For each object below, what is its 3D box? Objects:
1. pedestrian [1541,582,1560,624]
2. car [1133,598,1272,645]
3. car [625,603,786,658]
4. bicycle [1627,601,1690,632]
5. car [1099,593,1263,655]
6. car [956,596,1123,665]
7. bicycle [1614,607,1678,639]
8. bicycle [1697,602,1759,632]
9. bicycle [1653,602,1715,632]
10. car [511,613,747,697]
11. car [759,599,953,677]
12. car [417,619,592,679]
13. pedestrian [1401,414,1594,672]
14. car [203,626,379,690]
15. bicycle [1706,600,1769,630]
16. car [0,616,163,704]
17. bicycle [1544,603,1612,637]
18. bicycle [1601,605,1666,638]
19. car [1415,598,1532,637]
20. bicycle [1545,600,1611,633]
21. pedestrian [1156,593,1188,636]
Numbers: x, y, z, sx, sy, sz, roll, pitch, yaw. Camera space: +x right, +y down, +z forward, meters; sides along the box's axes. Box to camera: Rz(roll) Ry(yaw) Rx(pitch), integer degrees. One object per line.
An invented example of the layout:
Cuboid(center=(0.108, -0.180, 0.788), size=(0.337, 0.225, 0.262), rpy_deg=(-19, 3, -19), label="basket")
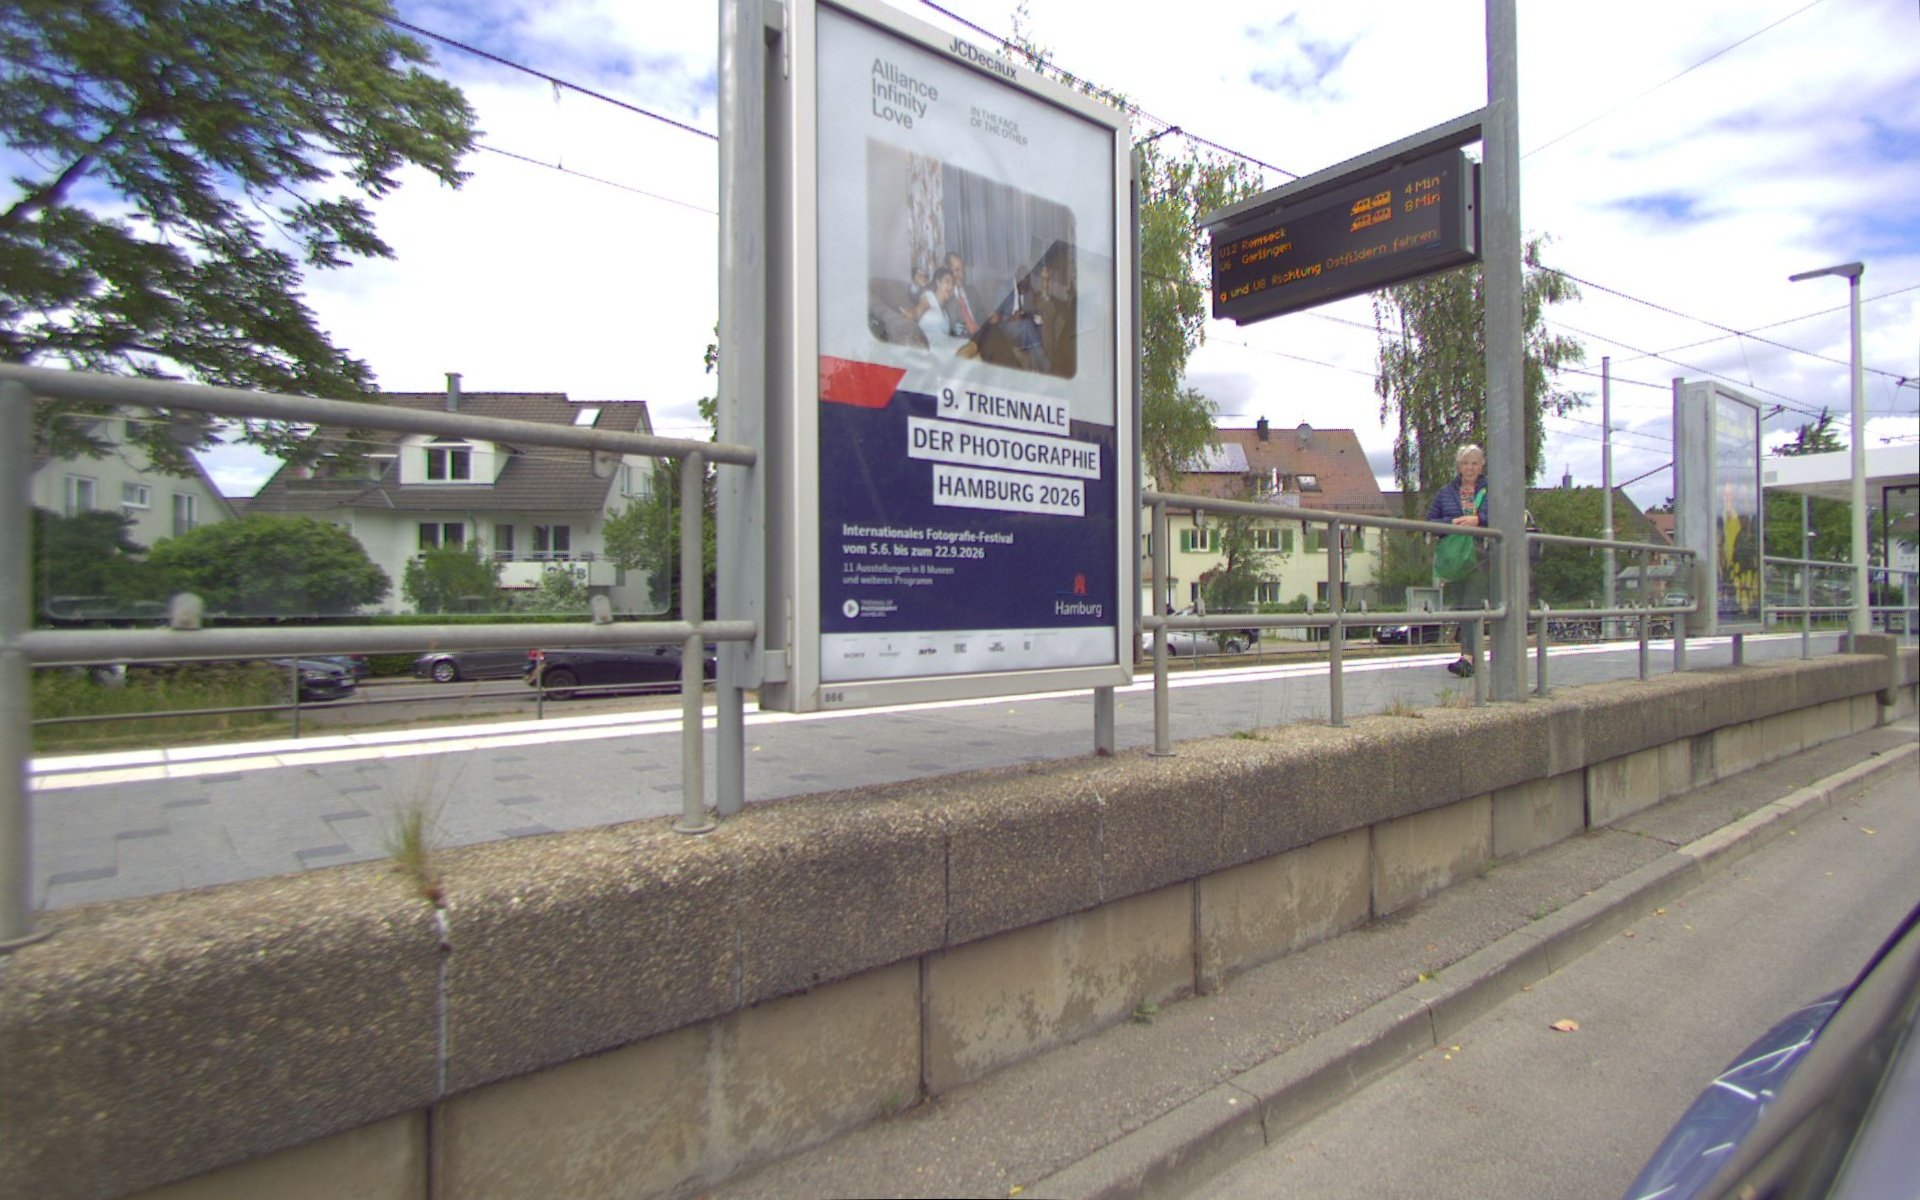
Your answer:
Cuboid(center=(27.124, 0.137, 46.489), size=(0.623, 1.939, 0.818), rpy_deg=(-1, -1, 41), label="pedestrian")
Cuboid(center=(9.083, 0.776, 38.008), size=(4.737, 1.657, 1.825), rpy_deg=(-1, 0, -16), label="car")
Cuboid(center=(-8.093, 0.928, 32.185), size=(4.826, 1.507, 1.766), rpy_deg=(-2, 1, -19), label="car")
Cuboid(center=(24.631, 0.575, 35.706), size=(0.545, 1.055, 1.773), rpy_deg=(-1, -1, -25), label="bicycle")
Cuboid(center=(6.171, 0.626, 28.209), size=(4.176, 1.594, 2.071), rpy_deg=(-1, 0, -32), label="car")
Cuboid(center=(2.037, 0.714, 25.560), size=(3.921, 1.594, 1.737), rpy_deg=(-1, 0, -32), label="car")
Cuboid(center=(23.407, 0.785, 34.560), size=(0.545, 1.055, 1.773), rpy_deg=(-1, -1, -25), label="bicycle")
Cuboid(center=(28.337, 0.623, 37.370), size=(0.545, 1.055, 1.773), rpy_deg=(-1, -1, -25), label="bicycle")
Cuboid(center=(26.053, 0.598, 36.445), size=(0.545, 1.055, 1.773), rpy_deg=(-1, -1, -25), label="bicycle")
Cuboid(center=(-6.754, 1.066, 20.813), size=(4.407, 1.507, 1.850), rpy_deg=(-1, 0, -20), label="car")
Cuboid(center=(-2.335, 0.800, 23.039), size=(4.019, 1.594, 1.763), rpy_deg=(-1, 0, -32), label="car")
Cuboid(center=(-13.523, 1.426, 30.336), size=(4.598, 1.507, 1.766), rpy_deg=(-2, 1, -19), label="car")
Cuboid(center=(3.841, -0.376, 7.258), size=(0.892, 1.692, 0.888), rpy_deg=(0, -1, -35), label="pedestrian")
Cuboid(center=(-18.739, 1.600, 28.541), size=(3.819, 1.507, 1.766), rpy_deg=(-2, 1, -20), label="car")
Cuboid(center=(28.923, 0.558, 37.679), size=(0.545, 1.055, 1.773), rpy_deg=(-1, -1, -25), label="bicycle")
Cuboid(center=(-21.095, 1.350, 22.940), size=(4.407, 1.868, 1.765), rpy_deg=(-1, -1, -16), label="car")
Cuboid(center=(19.893, 0.641, 32.593), size=(0.546, 1.055, 1.770), rpy_deg=(0, -1, -35), label="bicycle")
Cuboid(center=(22.726, 0.714, 34.169), size=(0.545, 1.055, 1.773), rpy_deg=(-1, -1, -25), label="bicycle")
Cuboid(center=(21.418, 0.694, 42.221), size=(4.329, 1.505, 1.825), rpy_deg=(-1, 0, -19), label="car")
Cuboid(center=(20.301, 0.543, 33.276), size=(0.546, 1.055, 1.770), rpy_deg=(0, -1, -34), label="bicycle")
Cuboid(center=(8.473, 0.581, 40.454), size=(0.930, 1.707, 0.811), rpy_deg=(0, -1, -31), label="pedestrian")
